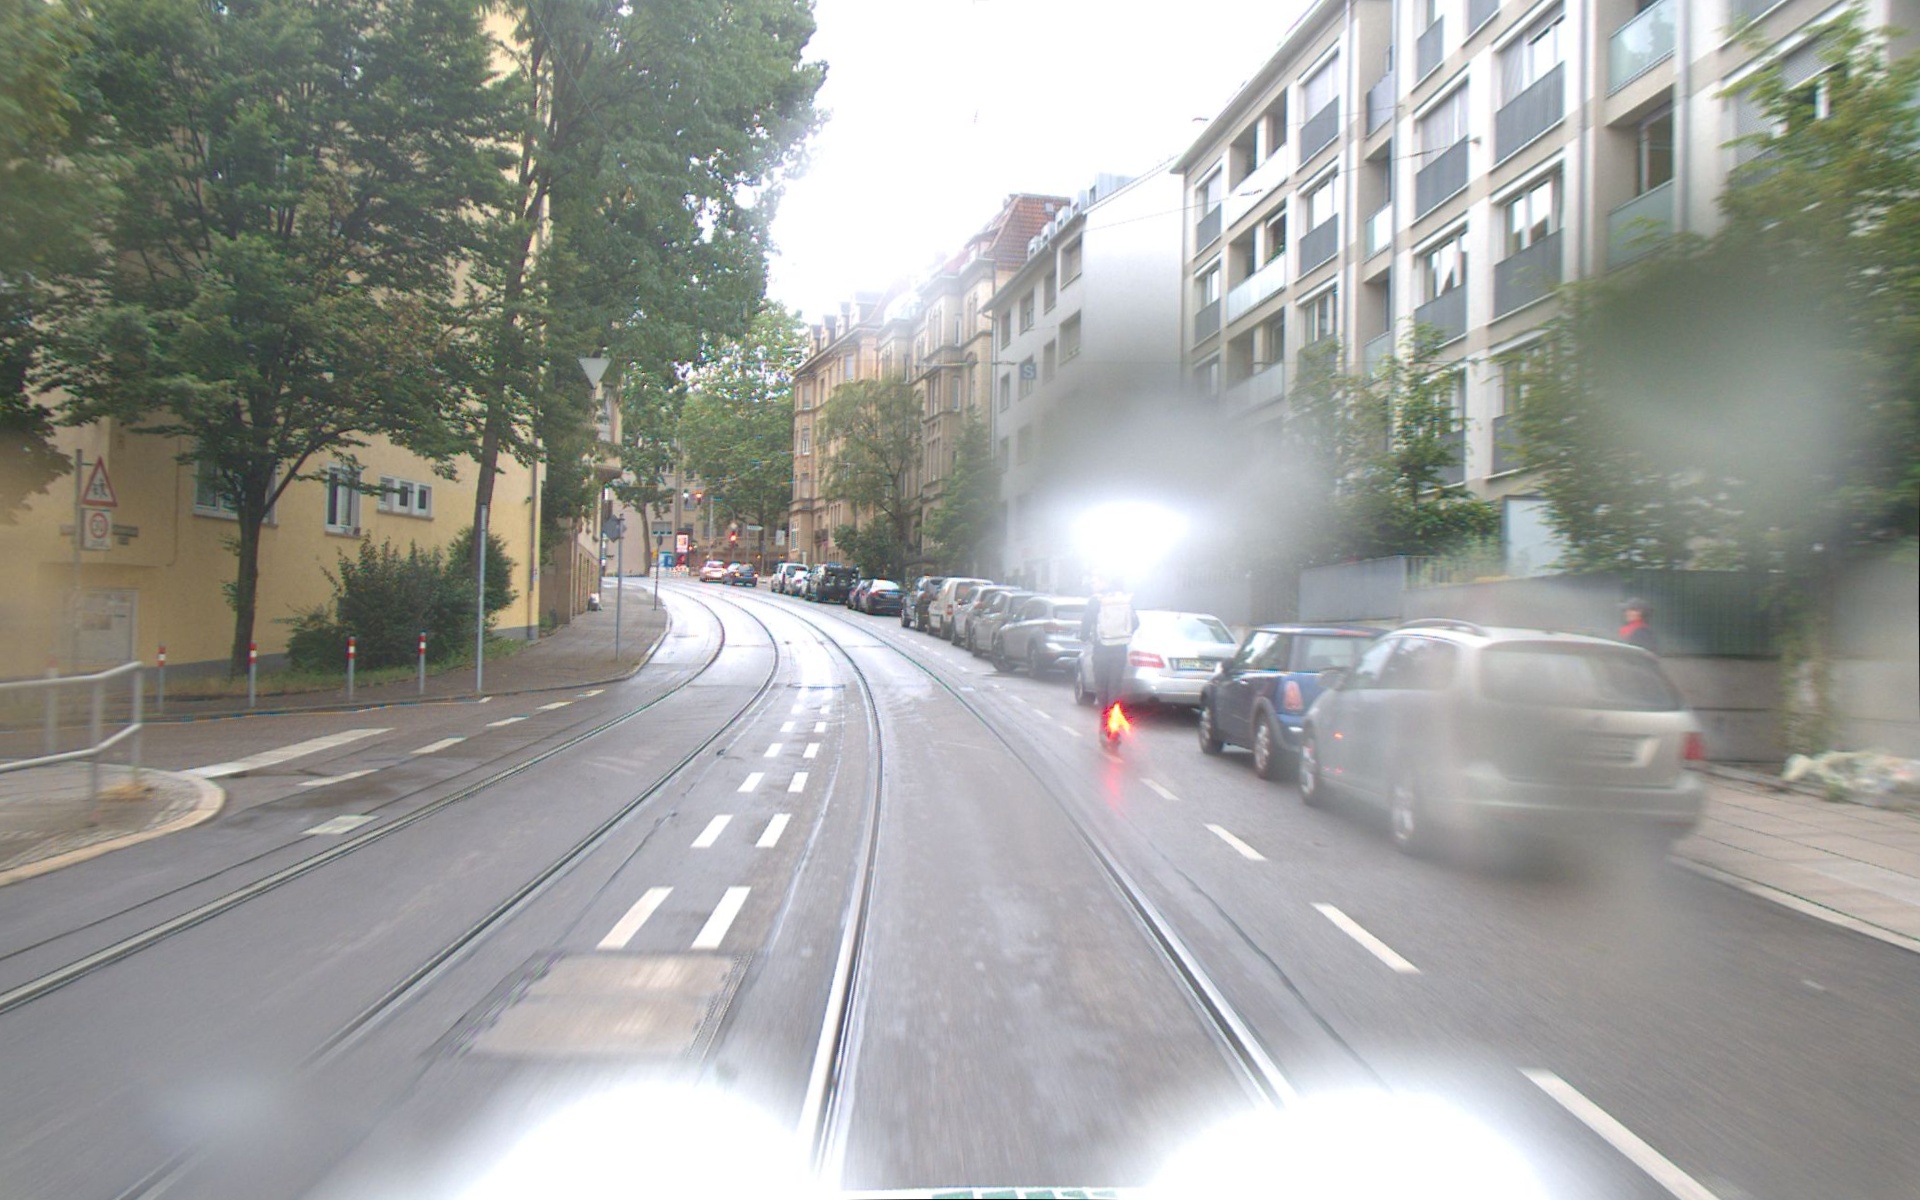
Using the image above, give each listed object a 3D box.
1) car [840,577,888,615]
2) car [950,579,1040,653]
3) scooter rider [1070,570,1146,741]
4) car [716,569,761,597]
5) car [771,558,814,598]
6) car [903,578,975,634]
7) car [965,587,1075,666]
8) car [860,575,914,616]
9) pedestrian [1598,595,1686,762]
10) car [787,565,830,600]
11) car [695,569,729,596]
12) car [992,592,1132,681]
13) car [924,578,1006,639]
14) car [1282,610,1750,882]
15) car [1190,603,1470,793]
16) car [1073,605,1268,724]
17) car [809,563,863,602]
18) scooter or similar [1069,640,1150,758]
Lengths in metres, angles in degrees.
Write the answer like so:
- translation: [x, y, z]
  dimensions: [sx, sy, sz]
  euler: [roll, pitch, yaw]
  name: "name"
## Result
- translation: [-4.345, -0.221, 74.064]
  dimensions: [1.620, 1.562, 3.879]
  euler: [-2, 2, -11]
  name: "car"
- translation: [0.904, 0.381, 44.852]
  dimensions: [1.733, 1.818, 4.241]
  euler: [2, 1, -8]
  name: "car"
- translation: [1.542, 0.564, 17.365]
  dimensions: [0.611, 1.735, 0.843]
  euler: [2, 1, -5]
  name: "scooter rider"
- translation: [-15.152, -1.150, 112.914]
  dimensions: [2.001, 1.764, 4.110]
  euler: [2, 1, -24]
  name: "car"
- translation: [-10.061, -1.349, 99.288]
  dimensions: [1.993, 2.256, 4.126]
  euler: [2, 1, -13]
  name: "car"
- translation: [-0.750, 0.168, 55.716]
  dimensions: [1.734, 1.713, 4.239]
  euler: [2, 1, -9]
  name: "car"
- translation: [1.366, 0.591, 39.300]
  dimensions: [1.734, 1.643, 4.239]
  euler: [2, 1, -10]
  name: "car"
- translation: [-3.096, -0.215, 69.333]
  dimensions: [1.734, 1.544, 4.131]
  euler: [2, 1, -9]
  name: "car"
- translation: [6.623, 0.746, 16.082]
  dimensions: [0.557, 1.569, 0.651]
  euler: [-1, 0, 0]
  name: "pedestrian"
- translation: [-8.668, -1.031, 94.551]
  dimensions: [1.991, 1.856, 4.129]
  euler: [2, 1, -11]
  name: "car"
- translation: [-17.714, -1.250, 117.994]
  dimensions: [1.826, 1.764, 4.122]
  euler: [2, 1, -16]
  name: "car"
- translation: [1.970, 0.680, 33.273]
  dimensions: [1.735, 1.643, 4.235]
  euler: [0, 0, -12]
  name: "car"
- translation: [0.096, 0.220, 50.977]
  dimensions: [1.735, 1.713, 4.238]
  euler: [2, 1, -10]
  name: "car"
- translation: [3.659, 0.859, 11.811]
  dimensions: [1.628, 1.497, 4.506]
  euler: [2, 0, -2]
  name: "car"
- translation: [3.526, 0.871, 16.431]
  dimensions: [1.668, 1.538, 3.711]
  euler: [2, 1, -4]
  name: "car"
- translation: [2.865, 0.842, 23.547]
  dimensions: [1.728, 1.460, 4.633]
  euler: [1, 0, -6]
  name: "car"
- translation: [-6.277, -0.911, 83.452]
  dimensions: [1.993, 1.856, 4.353]
  euler: [2, 1, -13]
  name: "car"
- translation: [1.538, 0.997, 17.282]
  dimensions: [0.503, 1.068, 2.007]
  euler: [1, 1, -4]
  name: "scooter or similar"
